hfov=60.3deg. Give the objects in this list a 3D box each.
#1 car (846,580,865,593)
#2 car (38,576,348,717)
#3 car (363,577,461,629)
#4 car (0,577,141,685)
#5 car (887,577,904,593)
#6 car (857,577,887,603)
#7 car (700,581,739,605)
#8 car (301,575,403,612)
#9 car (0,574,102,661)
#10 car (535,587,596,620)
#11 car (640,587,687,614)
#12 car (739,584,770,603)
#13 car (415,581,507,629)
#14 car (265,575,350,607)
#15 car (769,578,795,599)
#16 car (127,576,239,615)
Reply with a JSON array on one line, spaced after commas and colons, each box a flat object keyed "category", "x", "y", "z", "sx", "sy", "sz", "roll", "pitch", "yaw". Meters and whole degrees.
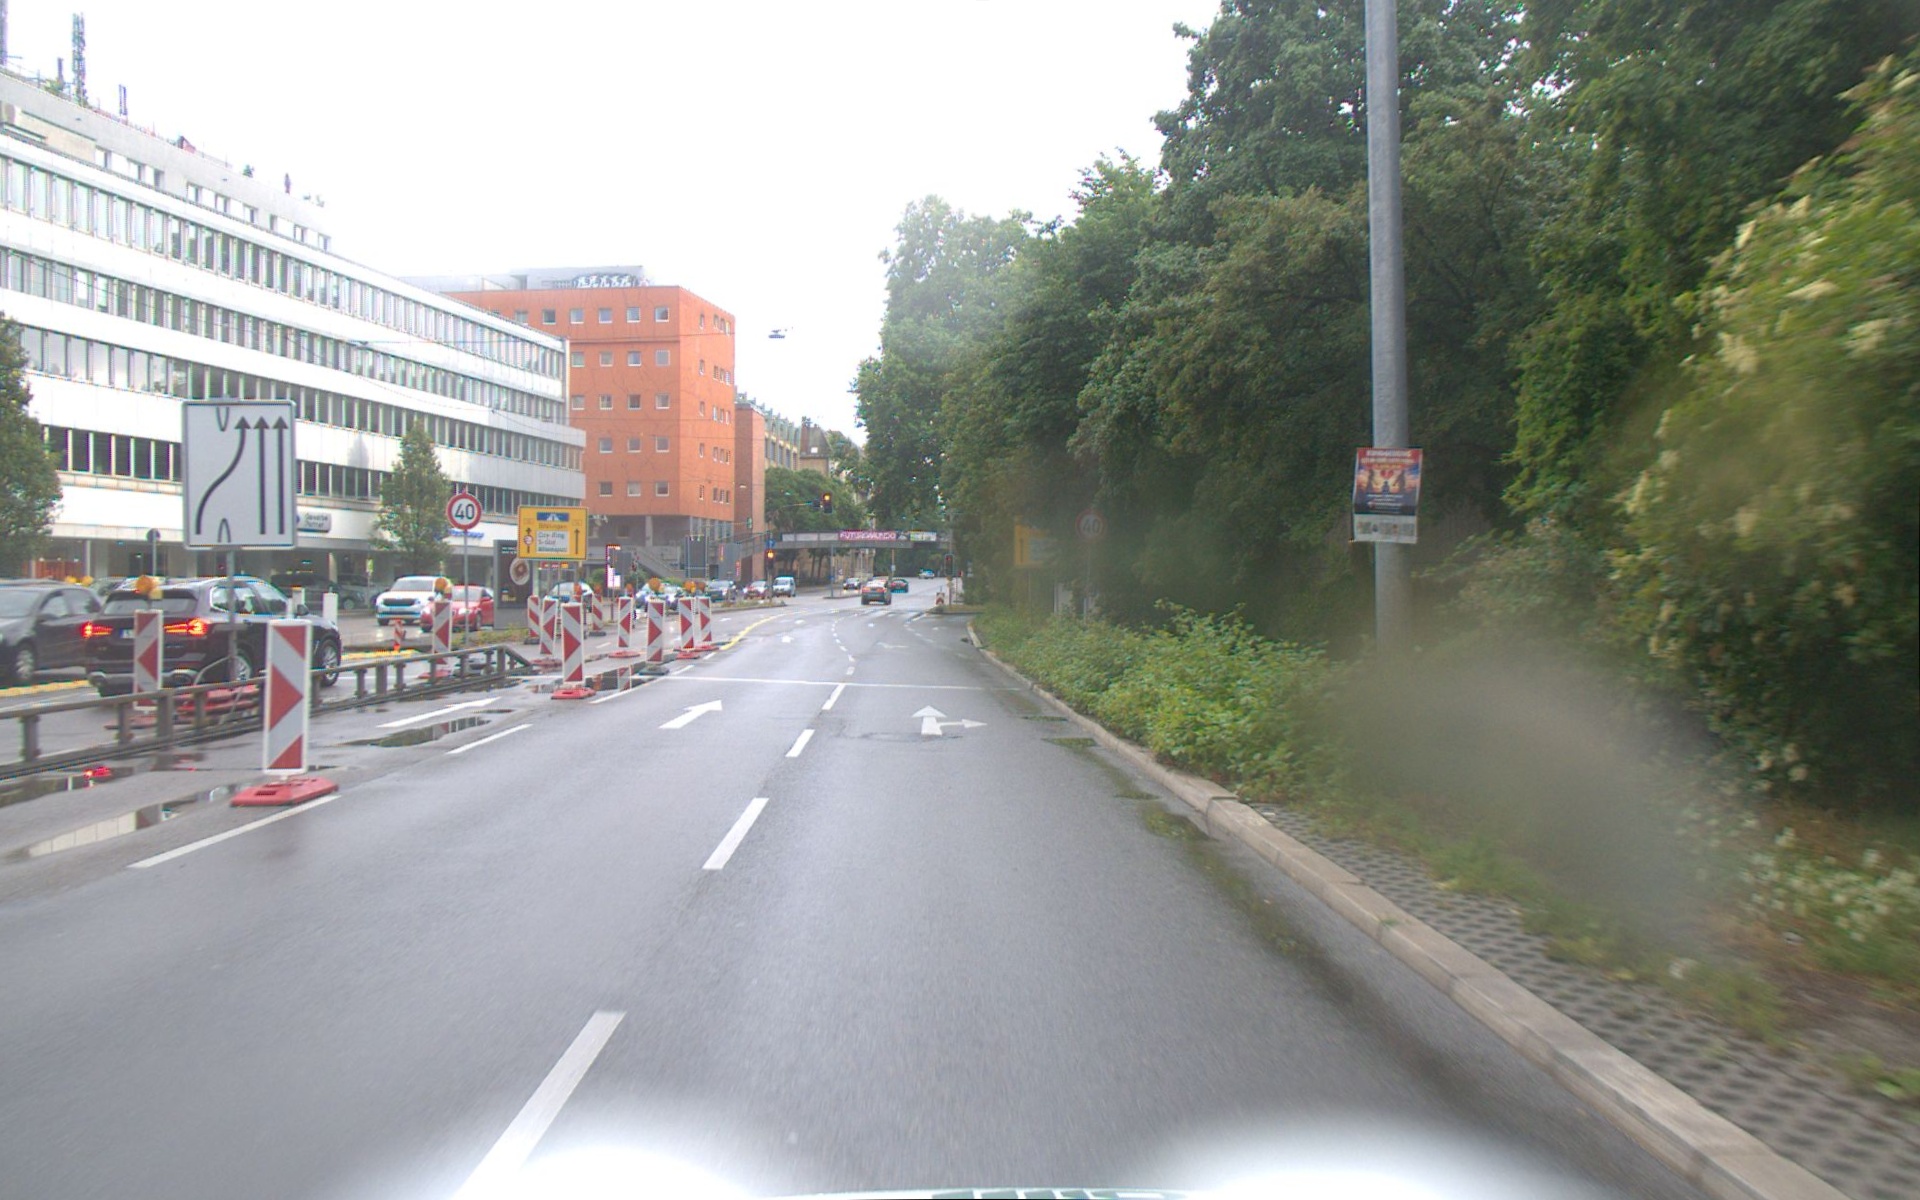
[{"category": "car", "x": -12.634, "y": -1.643, "z": 199.478, "sx": 1.952, "sy": 1.545, "sz": 4.001, "roll": 0, "pitch": 1, "yaw": 1}, {"category": "car", "x": -10.521, "y": 0.549, "z": 23.150, "sx": 1.907, "sy": 1.625, "sz": 4.673, "roll": 2, "pitch": 2, "yaw": 3}, {"category": "car", "x": -19.026, "y": 0.069, "z": 57.653, "sx": 1.940, "sy": 1.737, "sz": 4.830, "roll": 0, "pitch": 0, "yaw": -2}, {"category": "car", "x": -14.816, "y": 0.417, "z": 25.909, "sx": 1.919, "sy": 1.547, "sz": 4.299, "roll": 0, "pitch": 1, "yaw": -1}, {"category": "car", "x": -7.094, "y": -1.694, "z": 182.552, "sx": 1.727, "sy": 1.726, "sz": 3.706, "roll": -1, "pitch": 0, "yaw": 1}, {"category": "car", "x": -6.574, "y": -0.782, "z": 123.741, "sx": 2.078, "sy": 1.765, "sz": 4.198, "roll": 2, "pitch": 2, "yaw": -2}, {"category": "car", "x": -17.743, "y": -0.528, "z": 122.256, "sx": 1.806, "sy": 1.768, "sz": 4.607, "roll": 0, "pitch": 0, "yaw": 5}, {"category": "car", "x": -33.661, "y": -0.352, "z": 91.664, "sx": 4.948, "sy": 1.930, "sz": 1.969, "roll": -2, "pitch": 1, "yaw": -43}, {"category": "car", "x": -18.130, "y": 0.312, "z": 31.352, "sx": 1.676, "sy": 1.563, "sz": 4.077, "roll": -1, "pitch": 1, "yaw": -2}, {"category": "car", "x": -19.189, "y": 0.172, "z": 80.605, "sx": 1.715, "sy": 1.540, "sz": 4.002, "roll": -1, "pitch": 0, "yaw": 4}, {"category": "car", "x": -15.692, "y": 0.014, "z": 87.623, "sx": 1.654, "sy": 1.378, "sz": 4.115, "roll": -1, "pitch": 0, "yaw": 1}, {"category": "car", "x": -16.946, "y": -0.556, "z": 136.451, "sx": 1.791, "sy": 1.528, "sz": 4.374, "roll": -1, "pitch": 0, "yaw": 2}, {"category": "car", "x": -15.607, "y": 0.137, "z": 51.914, "sx": 1.700, "sy": 1.428, "sz": 4.288, "roll": 1, "pitch": 0, "yaw": -2}, {"category": "car", "x": -34.095, "y": -0.474, "z": 86.410, "sx": 3.942, "sy": 1.601, "sz": 1.982, "roll": -1, "pitch": 0, "yaw": -28}, {"category": "car", "x": -16.076, "y": -1.075, "z": 149.717, "sx": 1.698, "sy": 1.817, "sz": 4.302, "roll": -1, "pitch": 0, "yaw": 2}, {"category": "car", "x": -35.101, "y": -0.217, "z": 74.791, "sx": 4.336, "sy": 1.680, "sz": 1.831, "roll": -1, "pitch": 1, "yaw": -36}]
